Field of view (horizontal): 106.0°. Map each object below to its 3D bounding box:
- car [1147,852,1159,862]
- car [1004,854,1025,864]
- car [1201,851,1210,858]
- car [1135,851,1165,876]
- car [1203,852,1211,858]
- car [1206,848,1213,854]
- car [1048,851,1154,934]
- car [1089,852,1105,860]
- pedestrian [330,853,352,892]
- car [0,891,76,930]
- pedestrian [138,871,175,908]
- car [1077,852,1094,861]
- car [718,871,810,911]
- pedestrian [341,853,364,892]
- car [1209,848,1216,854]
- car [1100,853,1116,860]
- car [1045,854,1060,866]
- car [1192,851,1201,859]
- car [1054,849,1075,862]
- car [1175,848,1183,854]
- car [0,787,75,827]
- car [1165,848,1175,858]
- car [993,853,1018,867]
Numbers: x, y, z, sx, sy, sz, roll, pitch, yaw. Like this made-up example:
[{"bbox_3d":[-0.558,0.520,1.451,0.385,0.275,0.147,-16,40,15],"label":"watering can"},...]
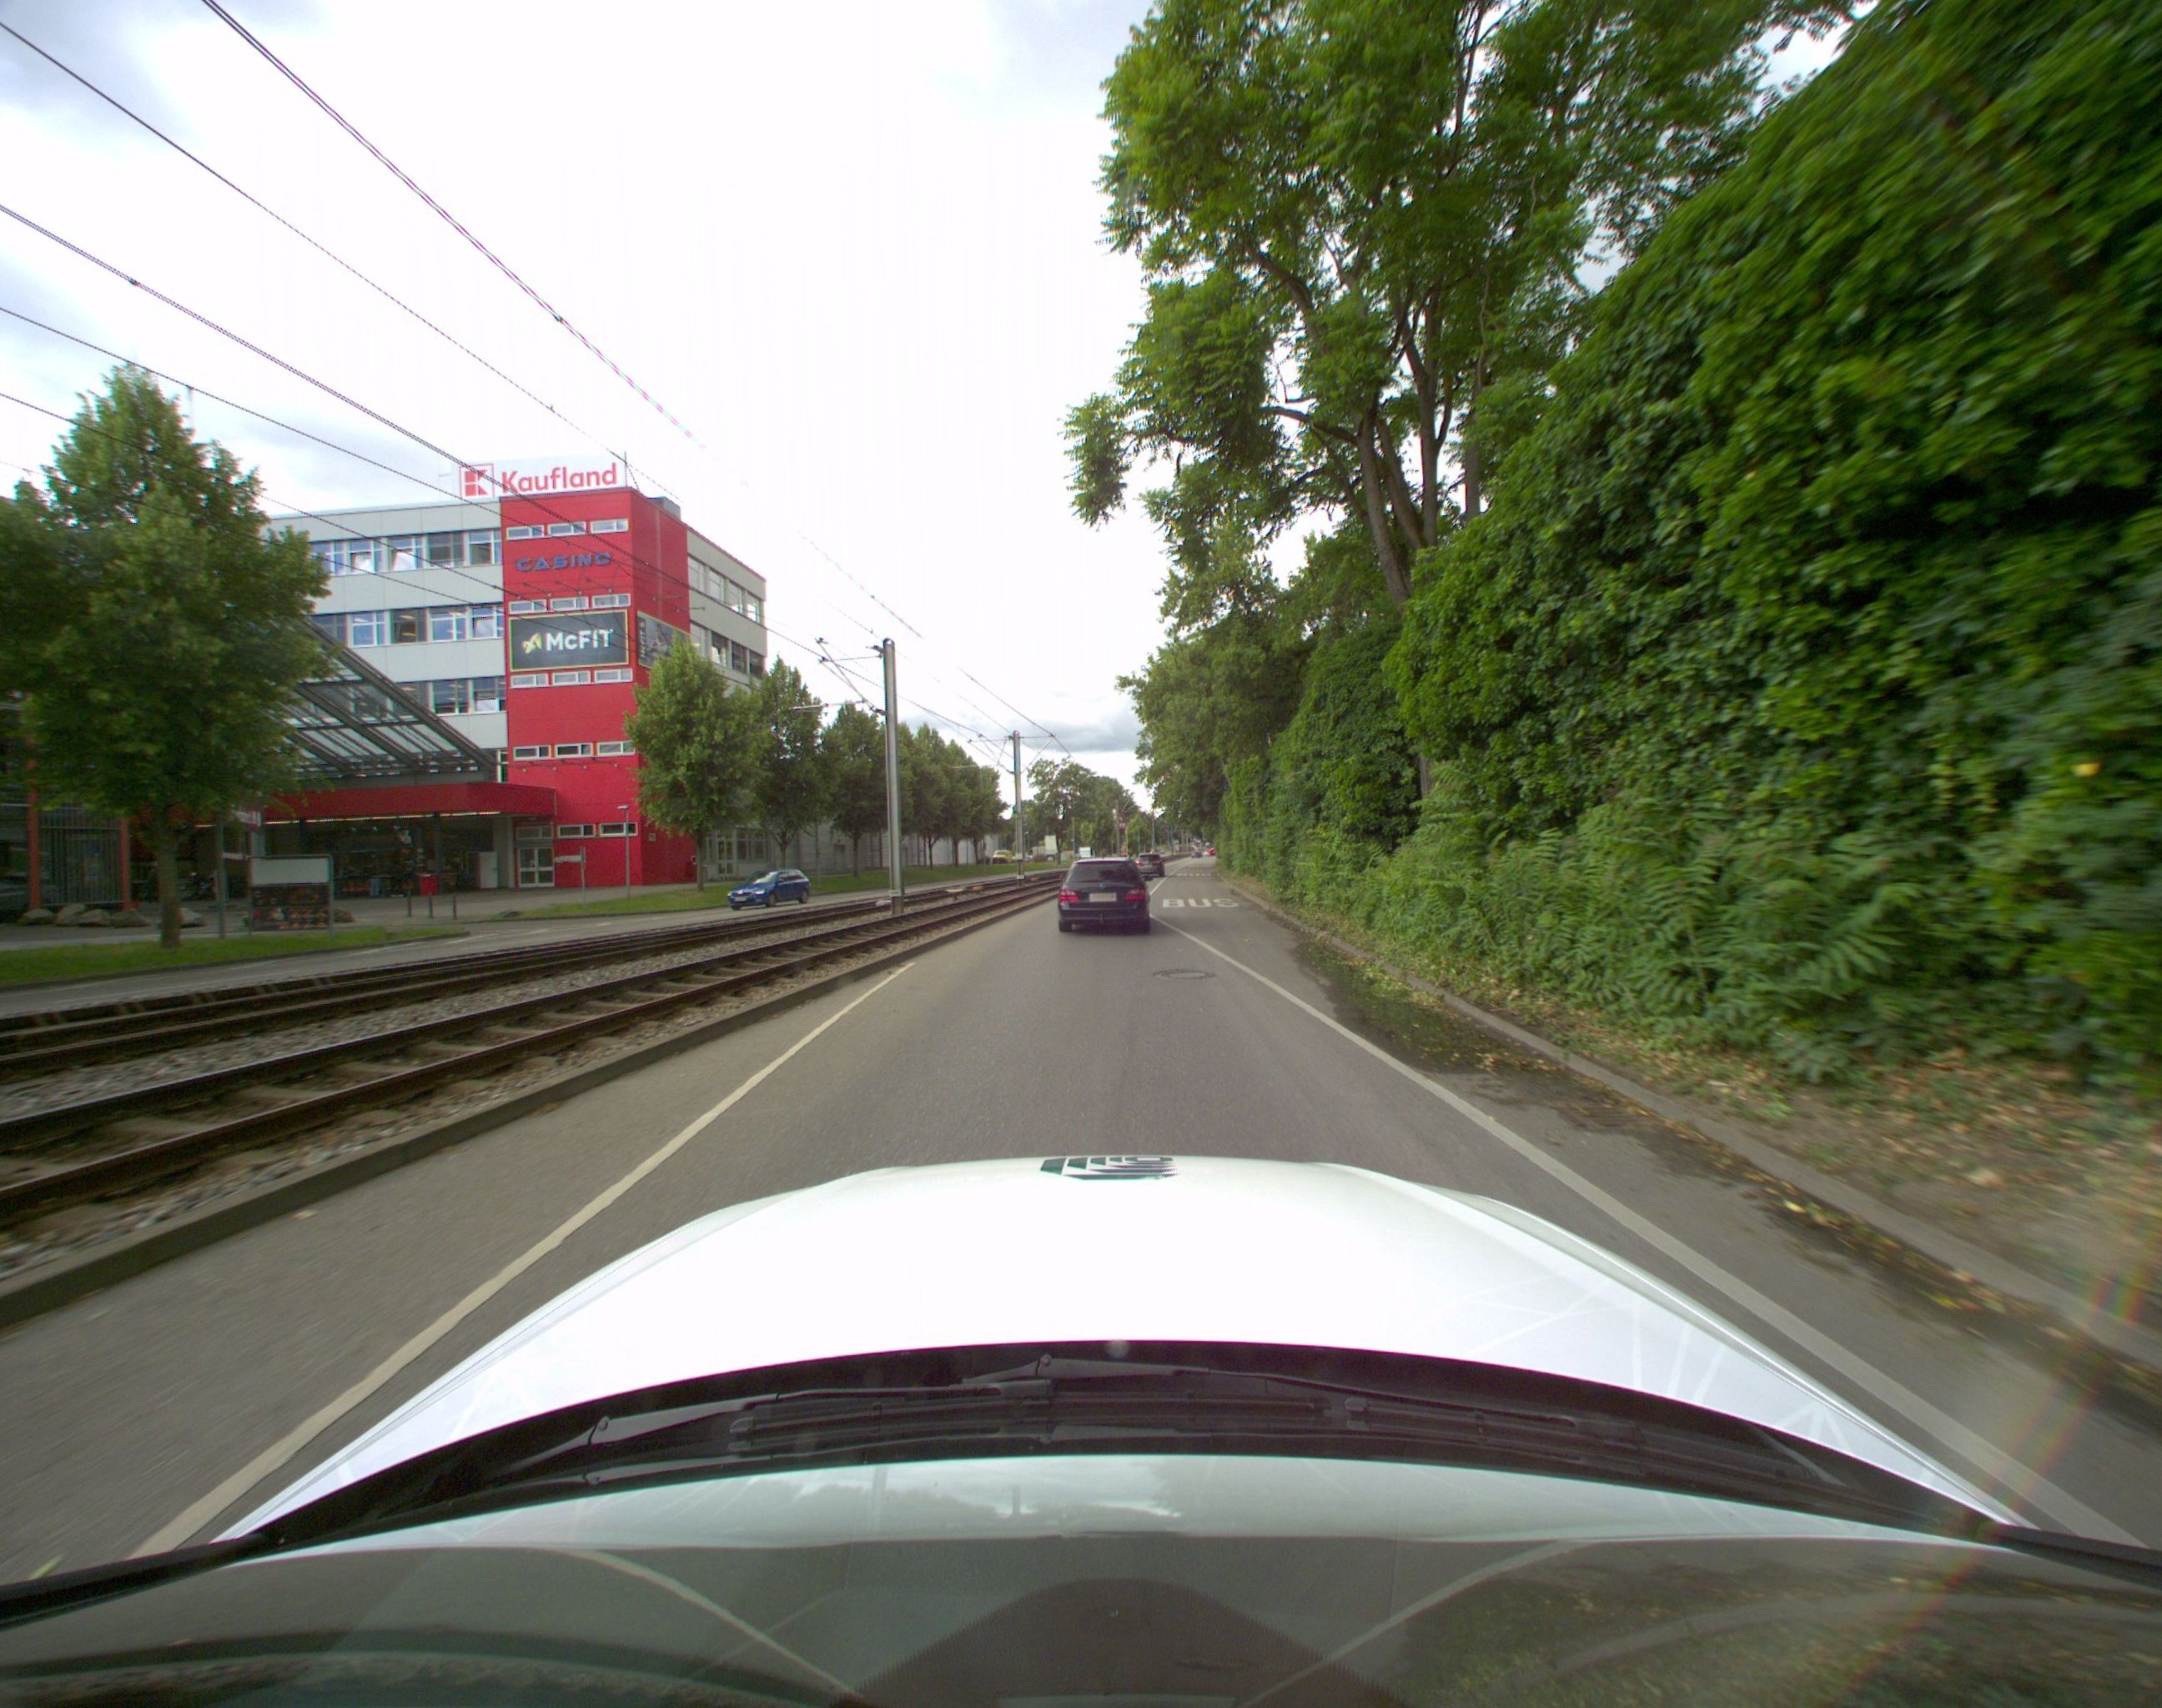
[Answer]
[{"bbox_3d":[11.690,0.450,131.943,1.815,1.530,3.994,-1,0,7],"label":"car"},{"bbox_3d":[-13.454,1.055,164.476,3.987,1.680,1.993,-4,-1,-10],"label":"car"},{"bbox_3d":[27.001,0.136,176.184,1.815,1.530,4.187,-1,0,7],"label":"car"},{"bbox_3d":[4.414,0.579,51.948,1.816,1.530,4.422,-1,0,5],"label":"car"},{"bbox_3d":[32.568,0.227,210.523,1.815,1.530,4.187,-1,0,7],"label":"car"},{"bbox_3d":[35.215,-0.867,223.196,1.815,1.530,4.187,-1,0,7],"label":"car"},{"bbox_3d":[0.563,0.721,17.080,1.824,1.478,4.423,-1,0,6],"label":"car"},{"bbox_3d":[3.656,0.396,191.010,3.683,1.816,1.793,-2,0,-2],"label":"car"},{"bbox_3d":[-38.645,0.962,42.532,0.598,2.013,0.554,-4,-1,7],"label":"pedestrian"},{"bbox_3d":[-37.277,1.960,27.294,1.447,1.226,4.456,-2,-1,5],"label":"car"},{"bbox_3d":[-44.354,1.685,39.075,0.734,1.695,0.868,-4,-1,5],"label":"pedestrian"},{"bbox_3d":[0.921,0.557,179.762,3.683,1.816,1.793,-2,0,-2],"label":"car"},{"bbox_3d":[-12.501,1.425,32.382,1.649,1.393,3.730,-2,0,10],"label":"car"},{"bbox_3d":[-38.566,0.978,43.127,0.598,2.013,0.554,-4,-1,7],"label":"pedestrian"},{"bbox_3d":[38.166,-0.912,236.175,1.815,1.530,4.187,-1,0,7],"label":"car"},{"bbox_3d":[7.010,0.629,214.170,3.964,1.644,2.005,-1,0,8],"label":"car"},{"bbox_3d":[-4.881,1.007,138.678,1.984,2.013,4.006,-4,-1,5],"label":"car"},{"bbox_3d":[23.447,0.123,165.552,1.815,1.530,4.425,-1,0,7],"label":"car"},{"bbox_3d":[-3.231,0.285,159.225,3.974,2.123,2.000,-4,-1,0],"label":"car"},{"bbox_3d":[25.080,-0.781,208.750,1.815,1.530,4.187,-1,0,7],"label":"car"},{"bbox_3d":[-37.363,-1.634,27.341,1.429,1.226,4.456,-2,-1,5],"label":"car"},{"bbox_3d":[18.740,-0.175,171.212,1.882,2.013,3.904,-4,-1,6],"label":"car"},{"bbox_3d":[-10.023,0.803,108.583,1.981,1.743,5.001,-3,0,9],"label":"car"}]
